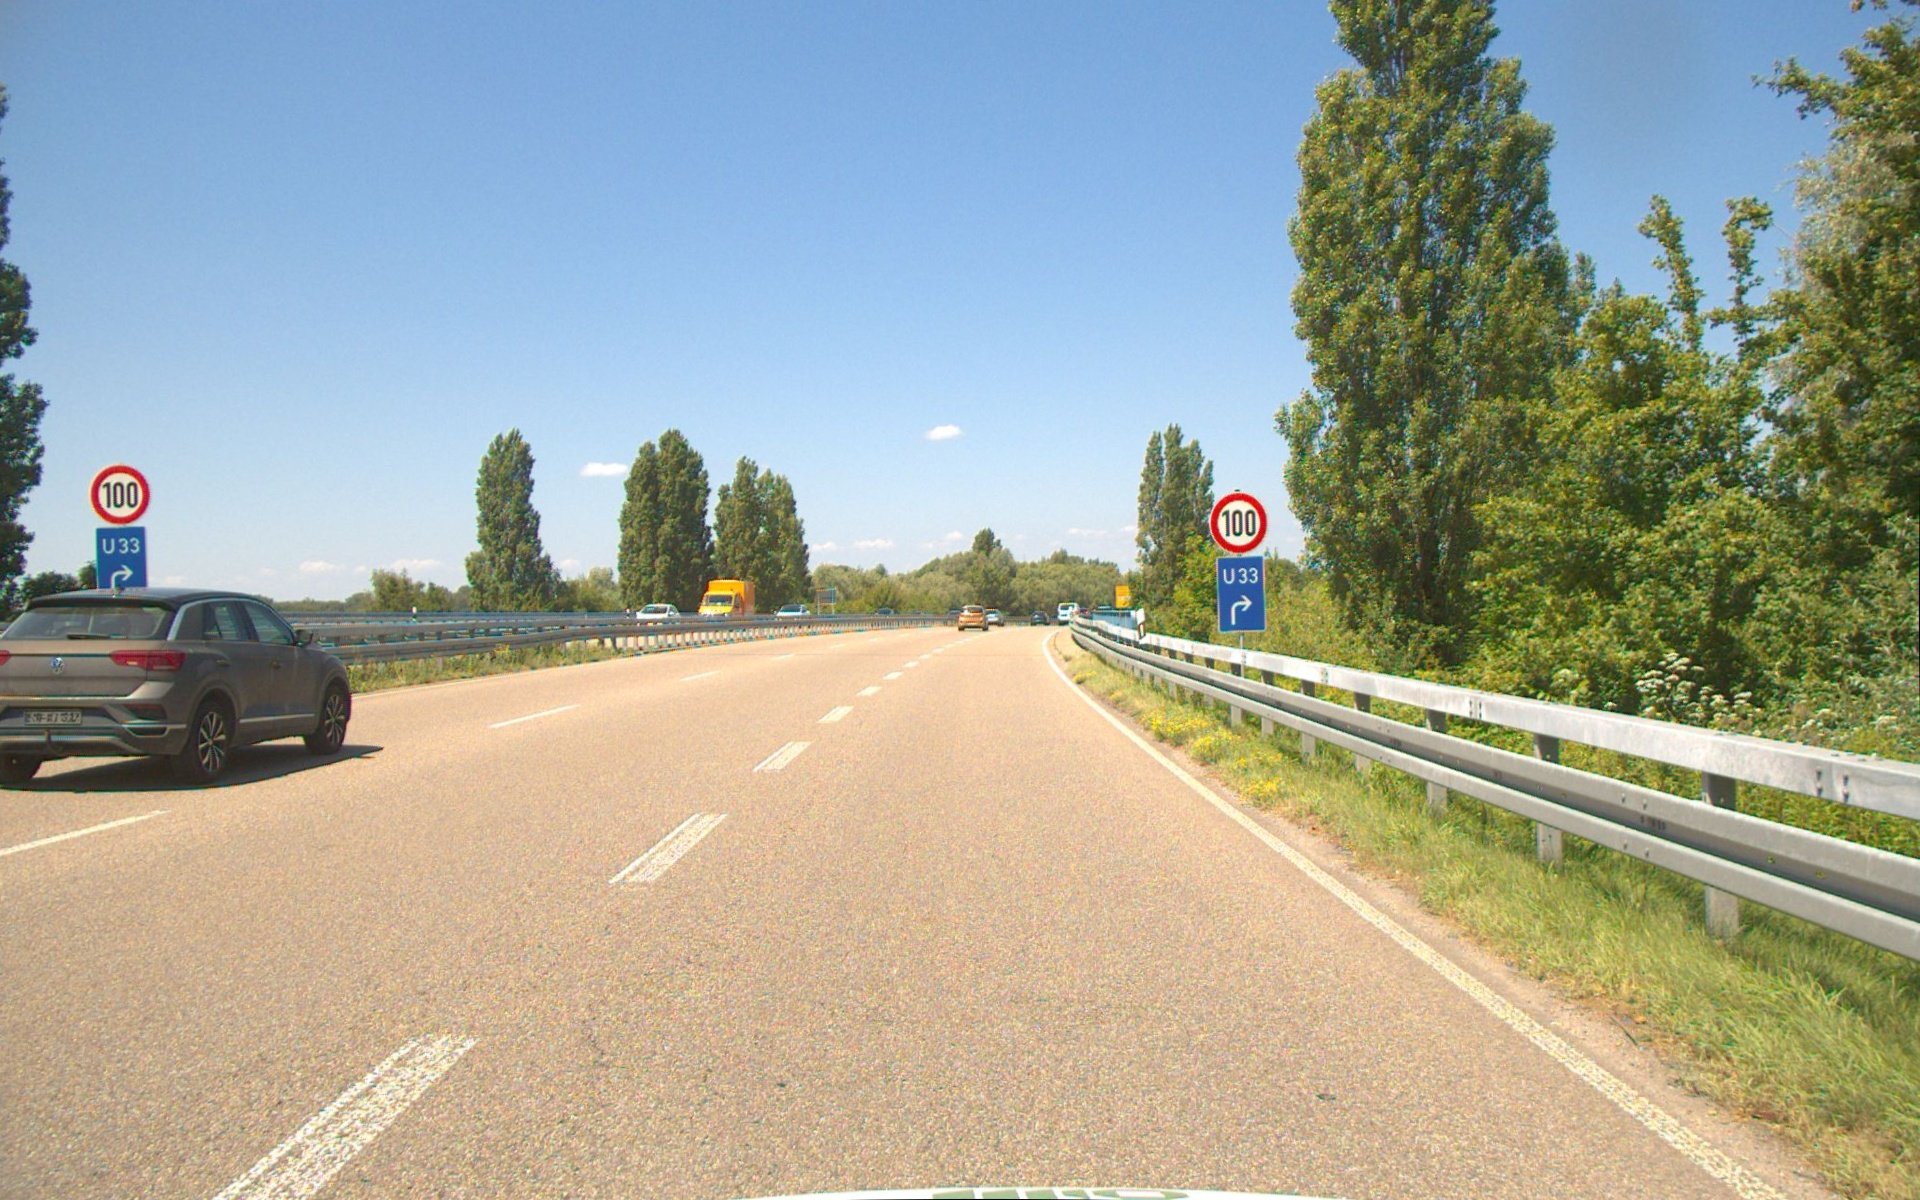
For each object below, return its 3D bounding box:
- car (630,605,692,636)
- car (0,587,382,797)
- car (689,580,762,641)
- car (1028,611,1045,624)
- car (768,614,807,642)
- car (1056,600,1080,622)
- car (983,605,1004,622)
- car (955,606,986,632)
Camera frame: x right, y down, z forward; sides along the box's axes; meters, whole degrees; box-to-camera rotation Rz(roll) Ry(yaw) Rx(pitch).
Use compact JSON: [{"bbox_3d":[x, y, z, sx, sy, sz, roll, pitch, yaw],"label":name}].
[{"bbox_3d":[-14.733,0.996,81.871,1.814,1.457,4.798,-1,0,5],"label":"car"},{"bbox_3d":[-6.785,0.684,14.567,1.803,1.556,4.469,0,0,0],"label":"car"},{"bbox_3d":[-13.435,0.613,95.452,2.256,3.349,7.034,-1,0,8],"label":"car"},{"bbox_3d":[8.912,2.014,192.089,1.903,1.489,4.002,0,0,4],"label":"car"},{"bbox_3d":[-11.971,1.936,114.950,1.814,1.850,4.797,-1,-1,4],"label":"car"},{"bbox_3d":[9.520,0.969,145.751,1.802,1.928,4.003,0,0,7],"label":"car"},{"bbox_3d":[2.982,1.157,146.710,1.803,1.476,4.001,0,0,3],"label":"car"},{"bbox_3d":[0.653,1.120,99.010,1.803,1.489,4.000,0,0,1],"label":"car"}]
